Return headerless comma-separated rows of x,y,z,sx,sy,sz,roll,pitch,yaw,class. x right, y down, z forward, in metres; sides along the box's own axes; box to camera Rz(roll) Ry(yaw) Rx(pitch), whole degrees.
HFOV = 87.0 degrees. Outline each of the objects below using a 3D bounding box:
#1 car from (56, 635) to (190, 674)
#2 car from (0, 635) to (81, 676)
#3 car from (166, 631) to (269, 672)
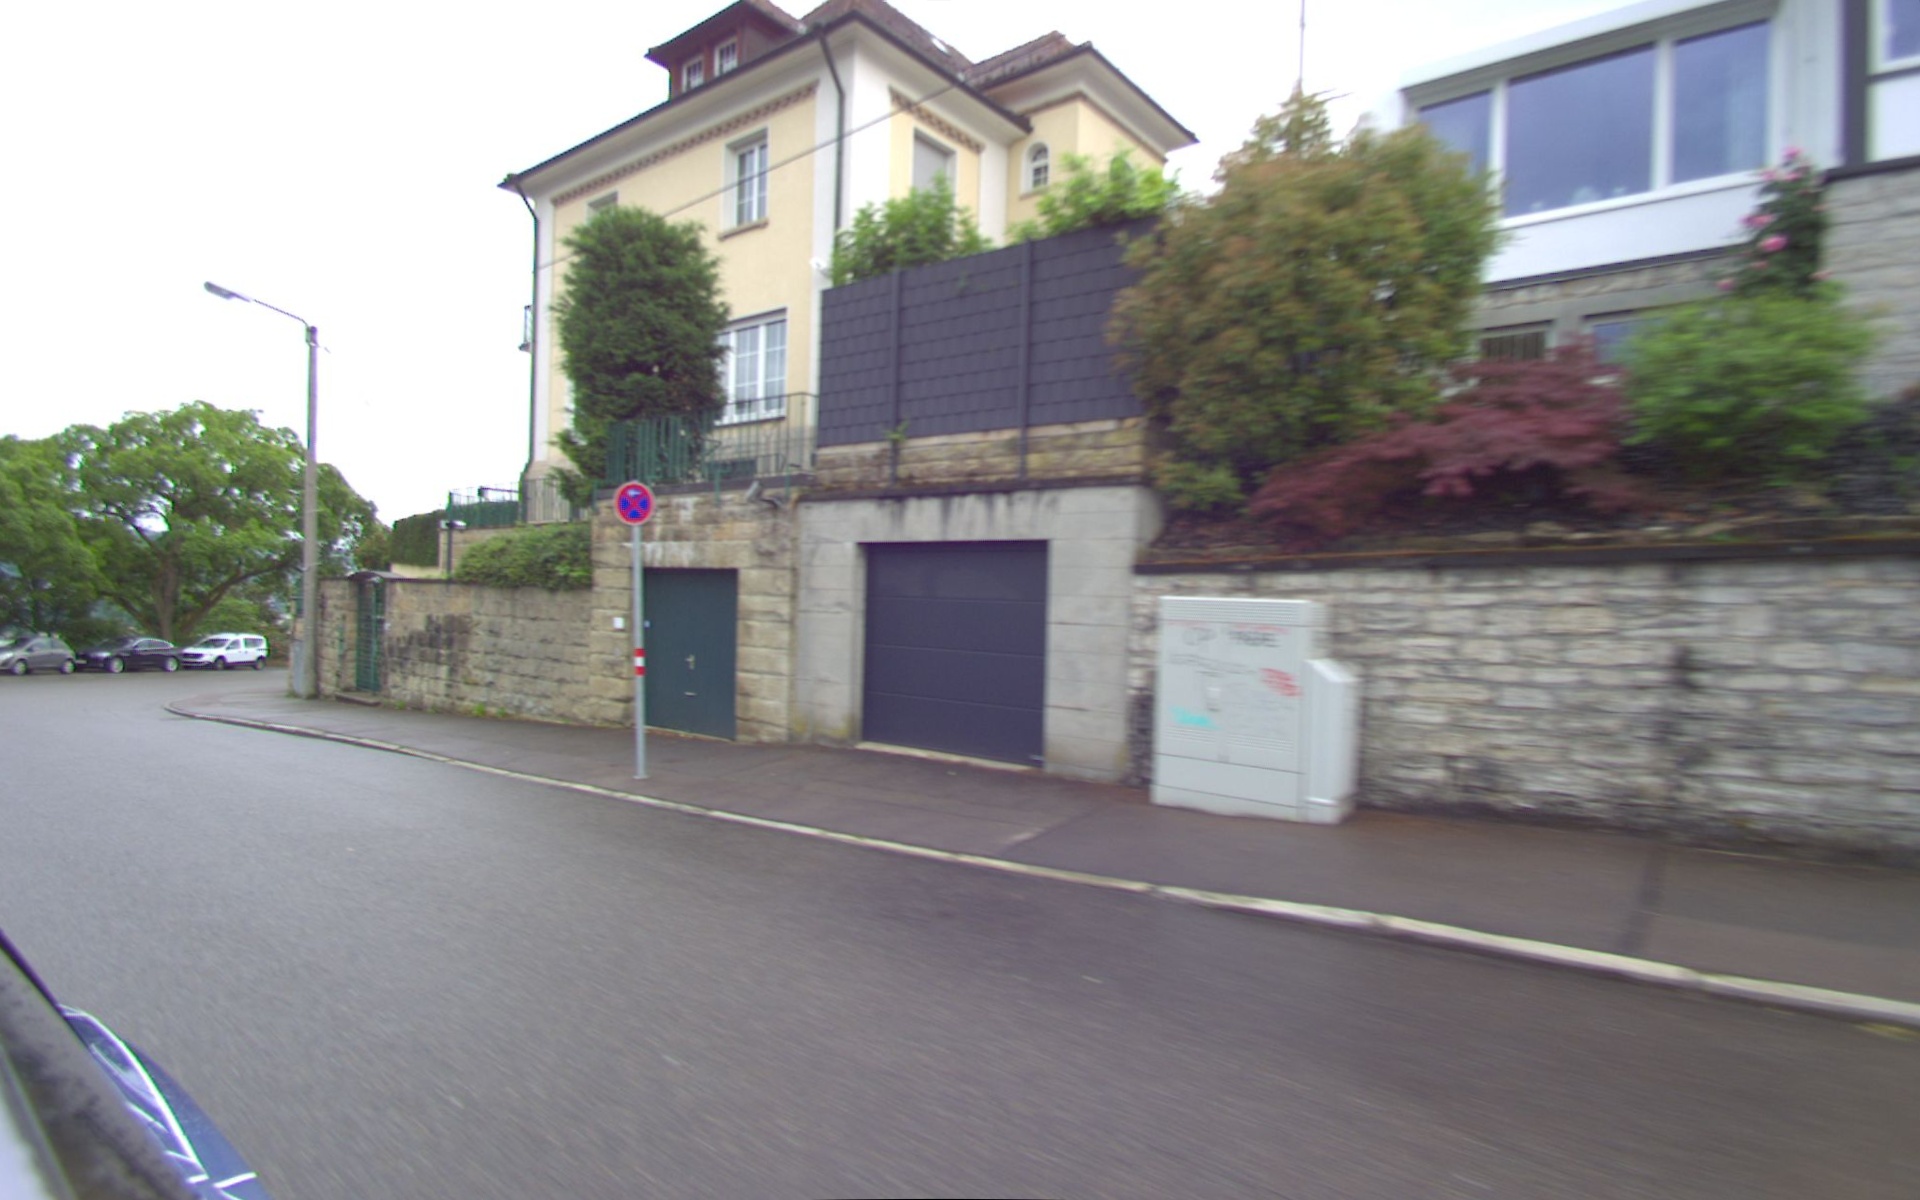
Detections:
-36.728,2.414,44.602,1.840,1.554,4.894,2,-3,0,car
-36.384,2.120,39.006,1.712,1.515,4.142,2,-3,-7,car
-36.637,2.571,50.107,1.728,1.835,4.421,2,-4,1,car
